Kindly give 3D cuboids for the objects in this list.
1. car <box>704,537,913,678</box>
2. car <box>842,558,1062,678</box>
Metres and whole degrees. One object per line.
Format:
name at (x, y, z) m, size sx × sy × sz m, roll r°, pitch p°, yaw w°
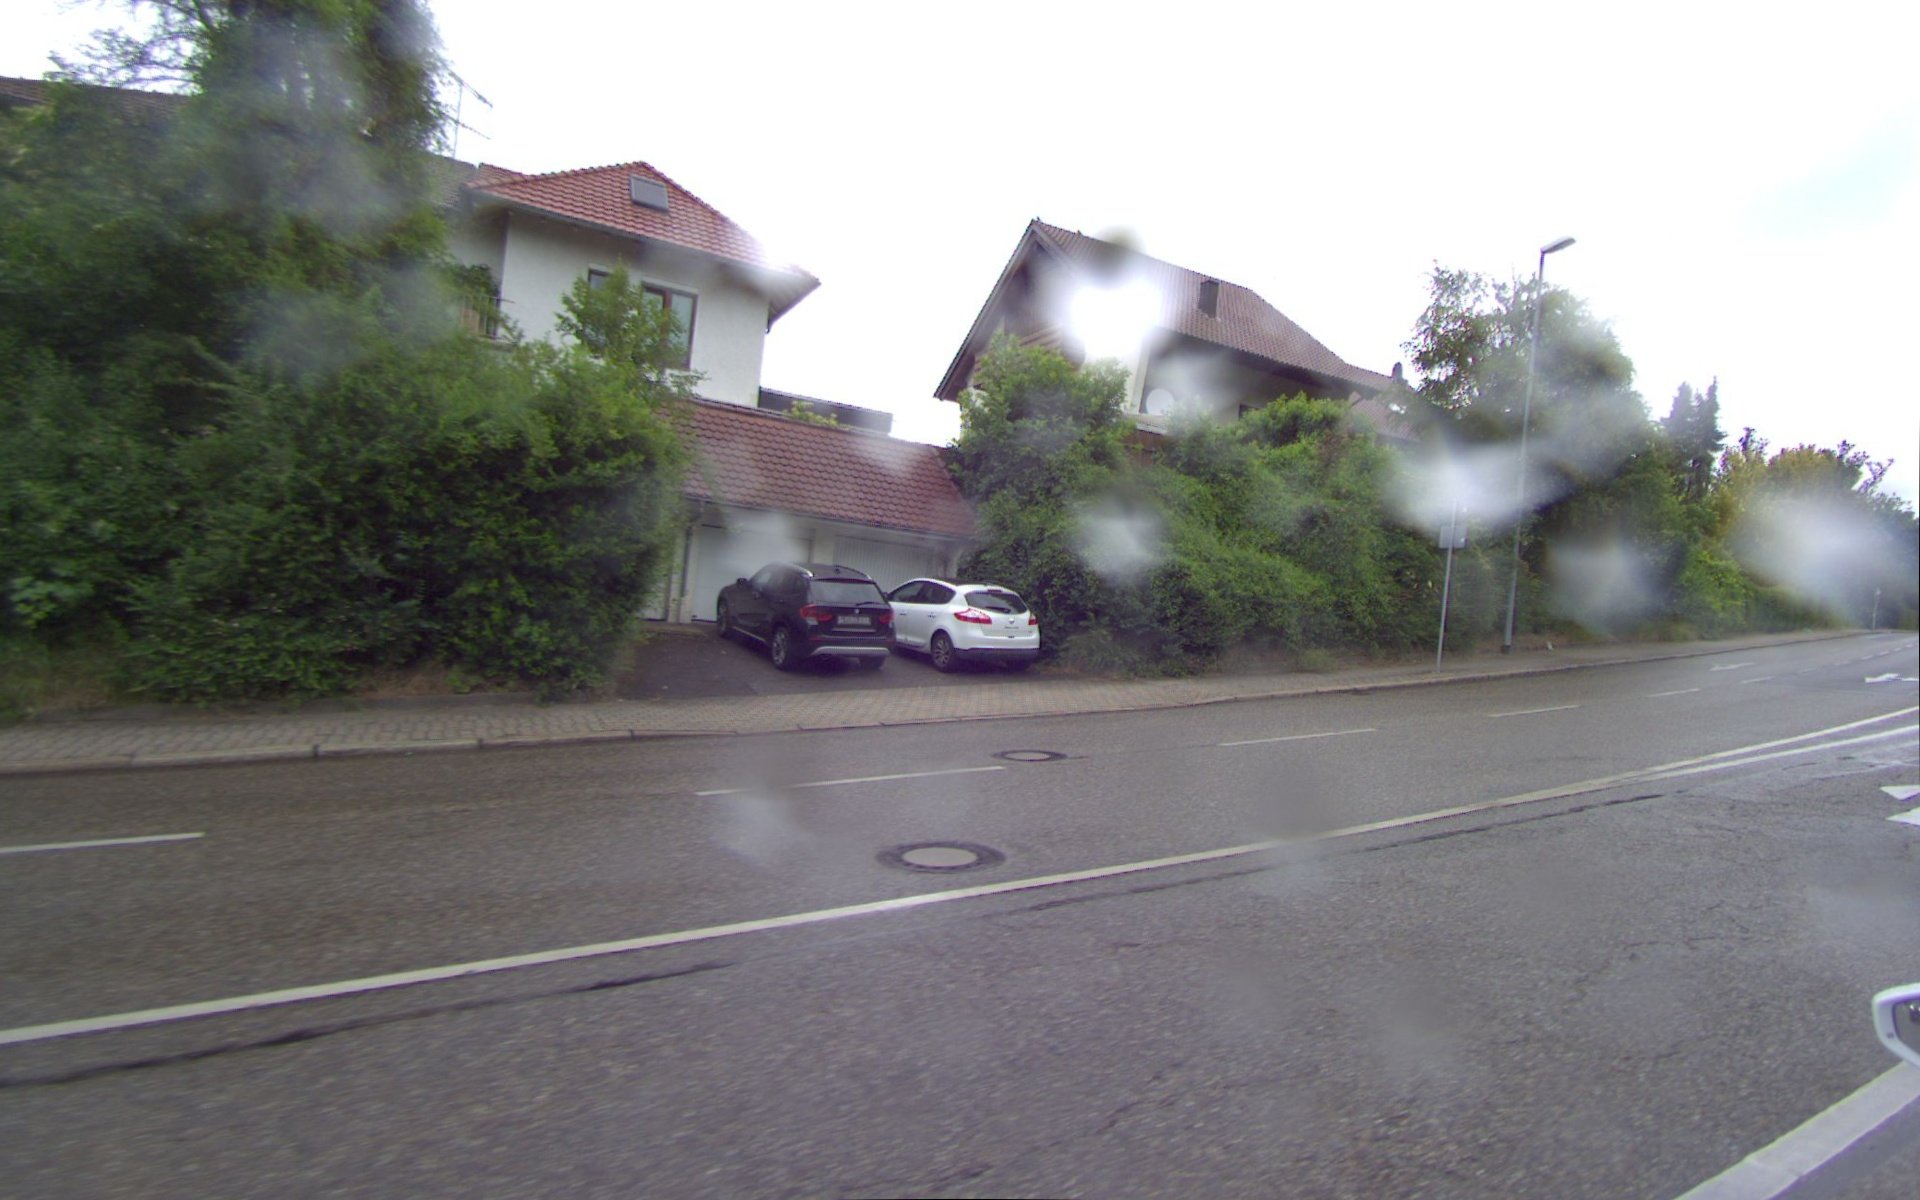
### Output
car at (-2.624, 0.041, 16.583) m, size 1.836 × 1.701 × 3.963 m, roll 3°, pitch 6°, yaw -33°
car at (-0.258, 0.245, 17.854) m, size 1.839 × 1.466 × 3.957 m, roll 2°, pitch 7°, yaw -37°
